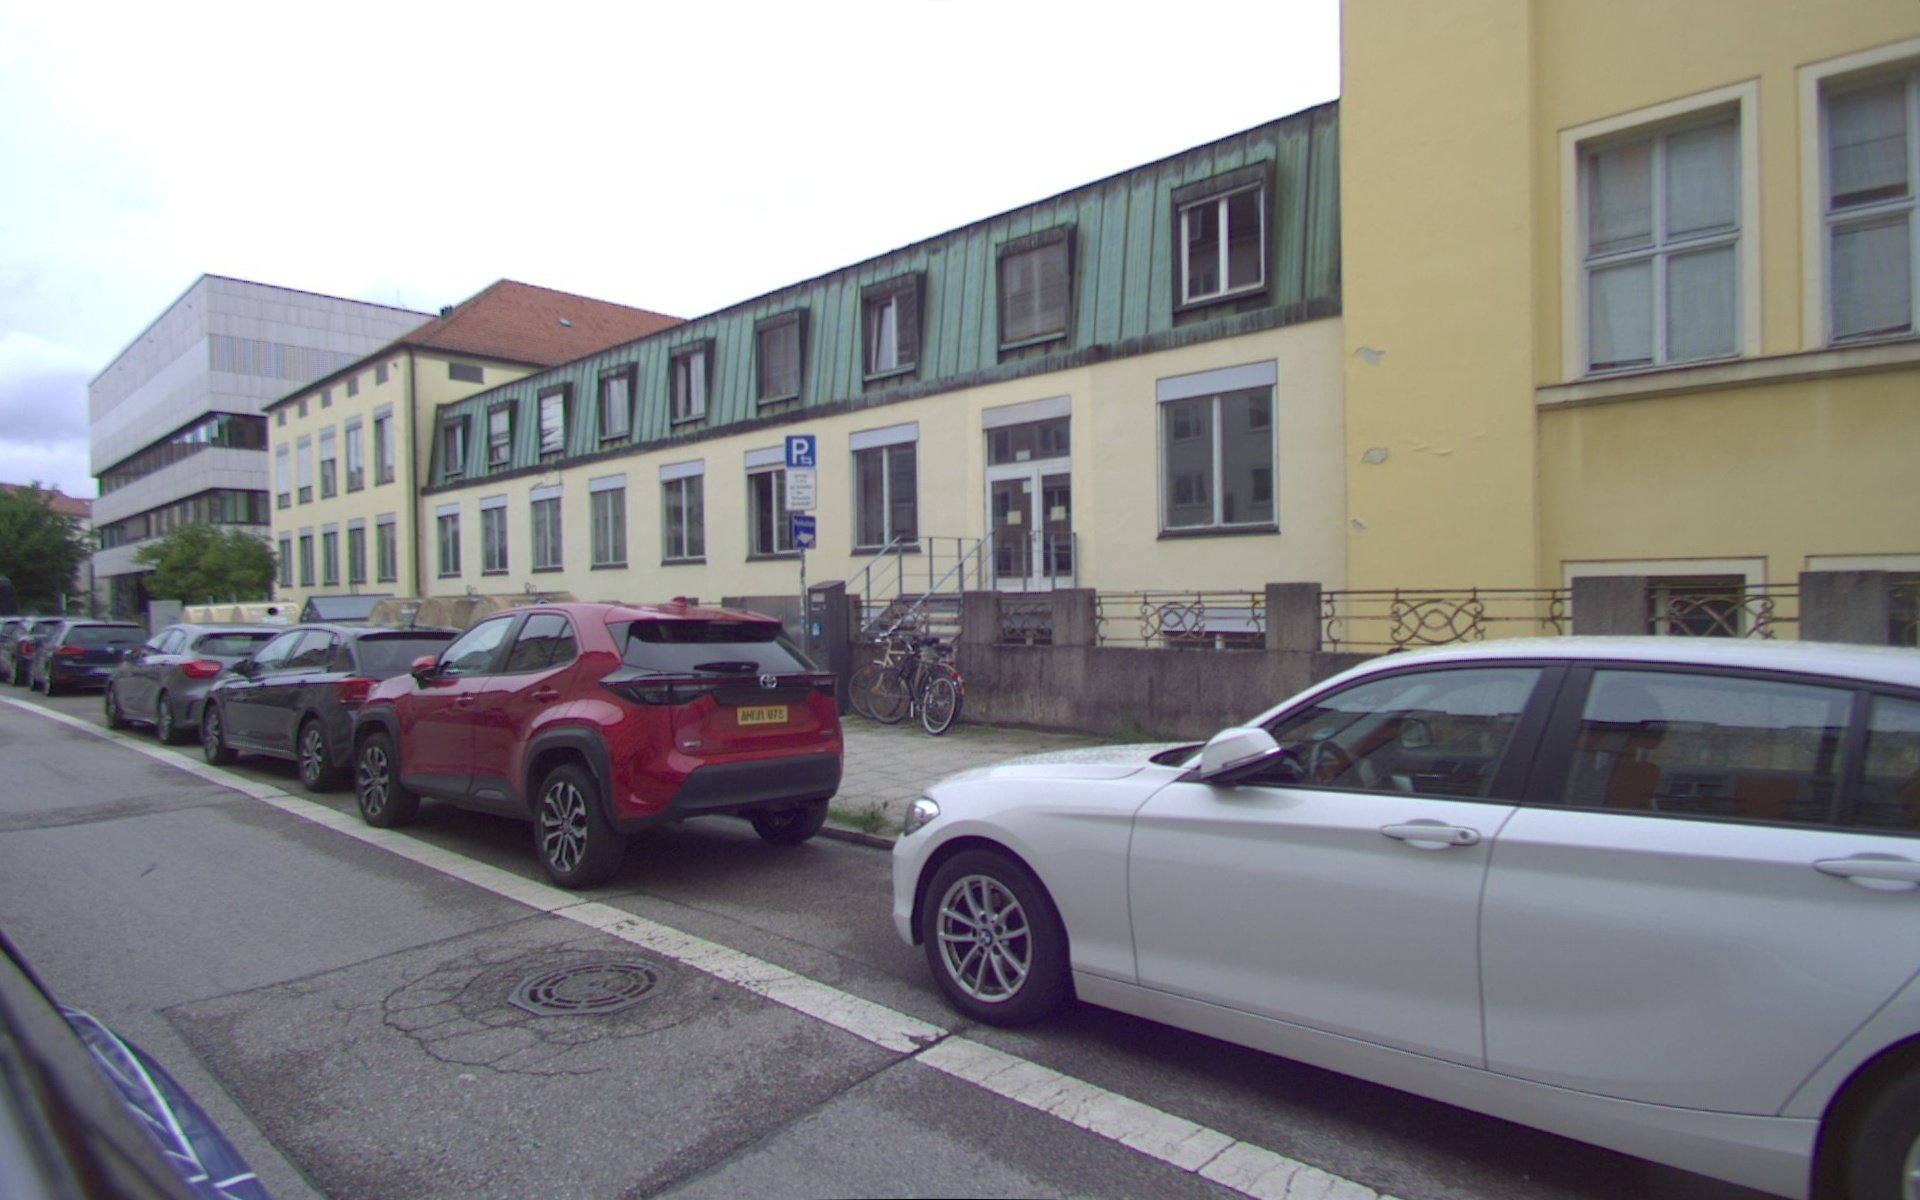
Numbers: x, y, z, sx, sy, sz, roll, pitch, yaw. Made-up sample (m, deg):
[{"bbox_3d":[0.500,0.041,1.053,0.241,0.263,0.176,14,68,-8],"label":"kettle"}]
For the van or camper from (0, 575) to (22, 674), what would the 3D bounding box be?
[{"bbox_3d":[-30.157,0.737,30.112,5.558,2.829,2.118,-1,-1,34],"label":"van or camper"}]

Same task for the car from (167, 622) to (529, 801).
[{"bbox_3d":[-6.087,0.940,9.914,3.984,1.416,1.659,-1,-3,37],"label":"car"}]

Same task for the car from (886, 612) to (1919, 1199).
[{"bbox_3d":[1.791,0.770,3.177,3.993,1.408,1.658,-1,-3,39],"label":"car"}]

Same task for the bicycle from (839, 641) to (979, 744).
[{"bbox_3d":[-0.593,0.977,11.157,1.741,1.002,0.450,-1,2,45],"label":"bicycle"}]

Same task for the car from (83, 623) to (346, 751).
[{"bbox_3d":[-9.814,1.024,13.224,4.123,1.416,1.776,-1,-3,39],"label":"car"}]

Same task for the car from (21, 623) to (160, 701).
[{"bbox_3d":[-17.641,1.202,20.477,4.000,1.416,1.677,-1,-3,43],"label":"car"}]

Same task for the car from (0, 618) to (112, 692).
[{"bbox_3d":[-21.340,1.236,23.589,3.864,1.574,1.678,-1,-3,39],"label":"car"}]

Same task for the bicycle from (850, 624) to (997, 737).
[{"bbox_3d":[-0.457,0.881,11.623,1.939,1.181,0.419,-1,2,45],"label":"bicycle"}]

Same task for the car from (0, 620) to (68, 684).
[{"bbox_3d":[-24.852,1.317,26.479,3.835,1.574,1.621,-1,-3,39],"label":"car"}]

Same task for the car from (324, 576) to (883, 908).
[{"bbox_3d":[-2.537,0.733,6.743,3.993,1.578,1.658,-1,-3,39],"label":"car"}]
